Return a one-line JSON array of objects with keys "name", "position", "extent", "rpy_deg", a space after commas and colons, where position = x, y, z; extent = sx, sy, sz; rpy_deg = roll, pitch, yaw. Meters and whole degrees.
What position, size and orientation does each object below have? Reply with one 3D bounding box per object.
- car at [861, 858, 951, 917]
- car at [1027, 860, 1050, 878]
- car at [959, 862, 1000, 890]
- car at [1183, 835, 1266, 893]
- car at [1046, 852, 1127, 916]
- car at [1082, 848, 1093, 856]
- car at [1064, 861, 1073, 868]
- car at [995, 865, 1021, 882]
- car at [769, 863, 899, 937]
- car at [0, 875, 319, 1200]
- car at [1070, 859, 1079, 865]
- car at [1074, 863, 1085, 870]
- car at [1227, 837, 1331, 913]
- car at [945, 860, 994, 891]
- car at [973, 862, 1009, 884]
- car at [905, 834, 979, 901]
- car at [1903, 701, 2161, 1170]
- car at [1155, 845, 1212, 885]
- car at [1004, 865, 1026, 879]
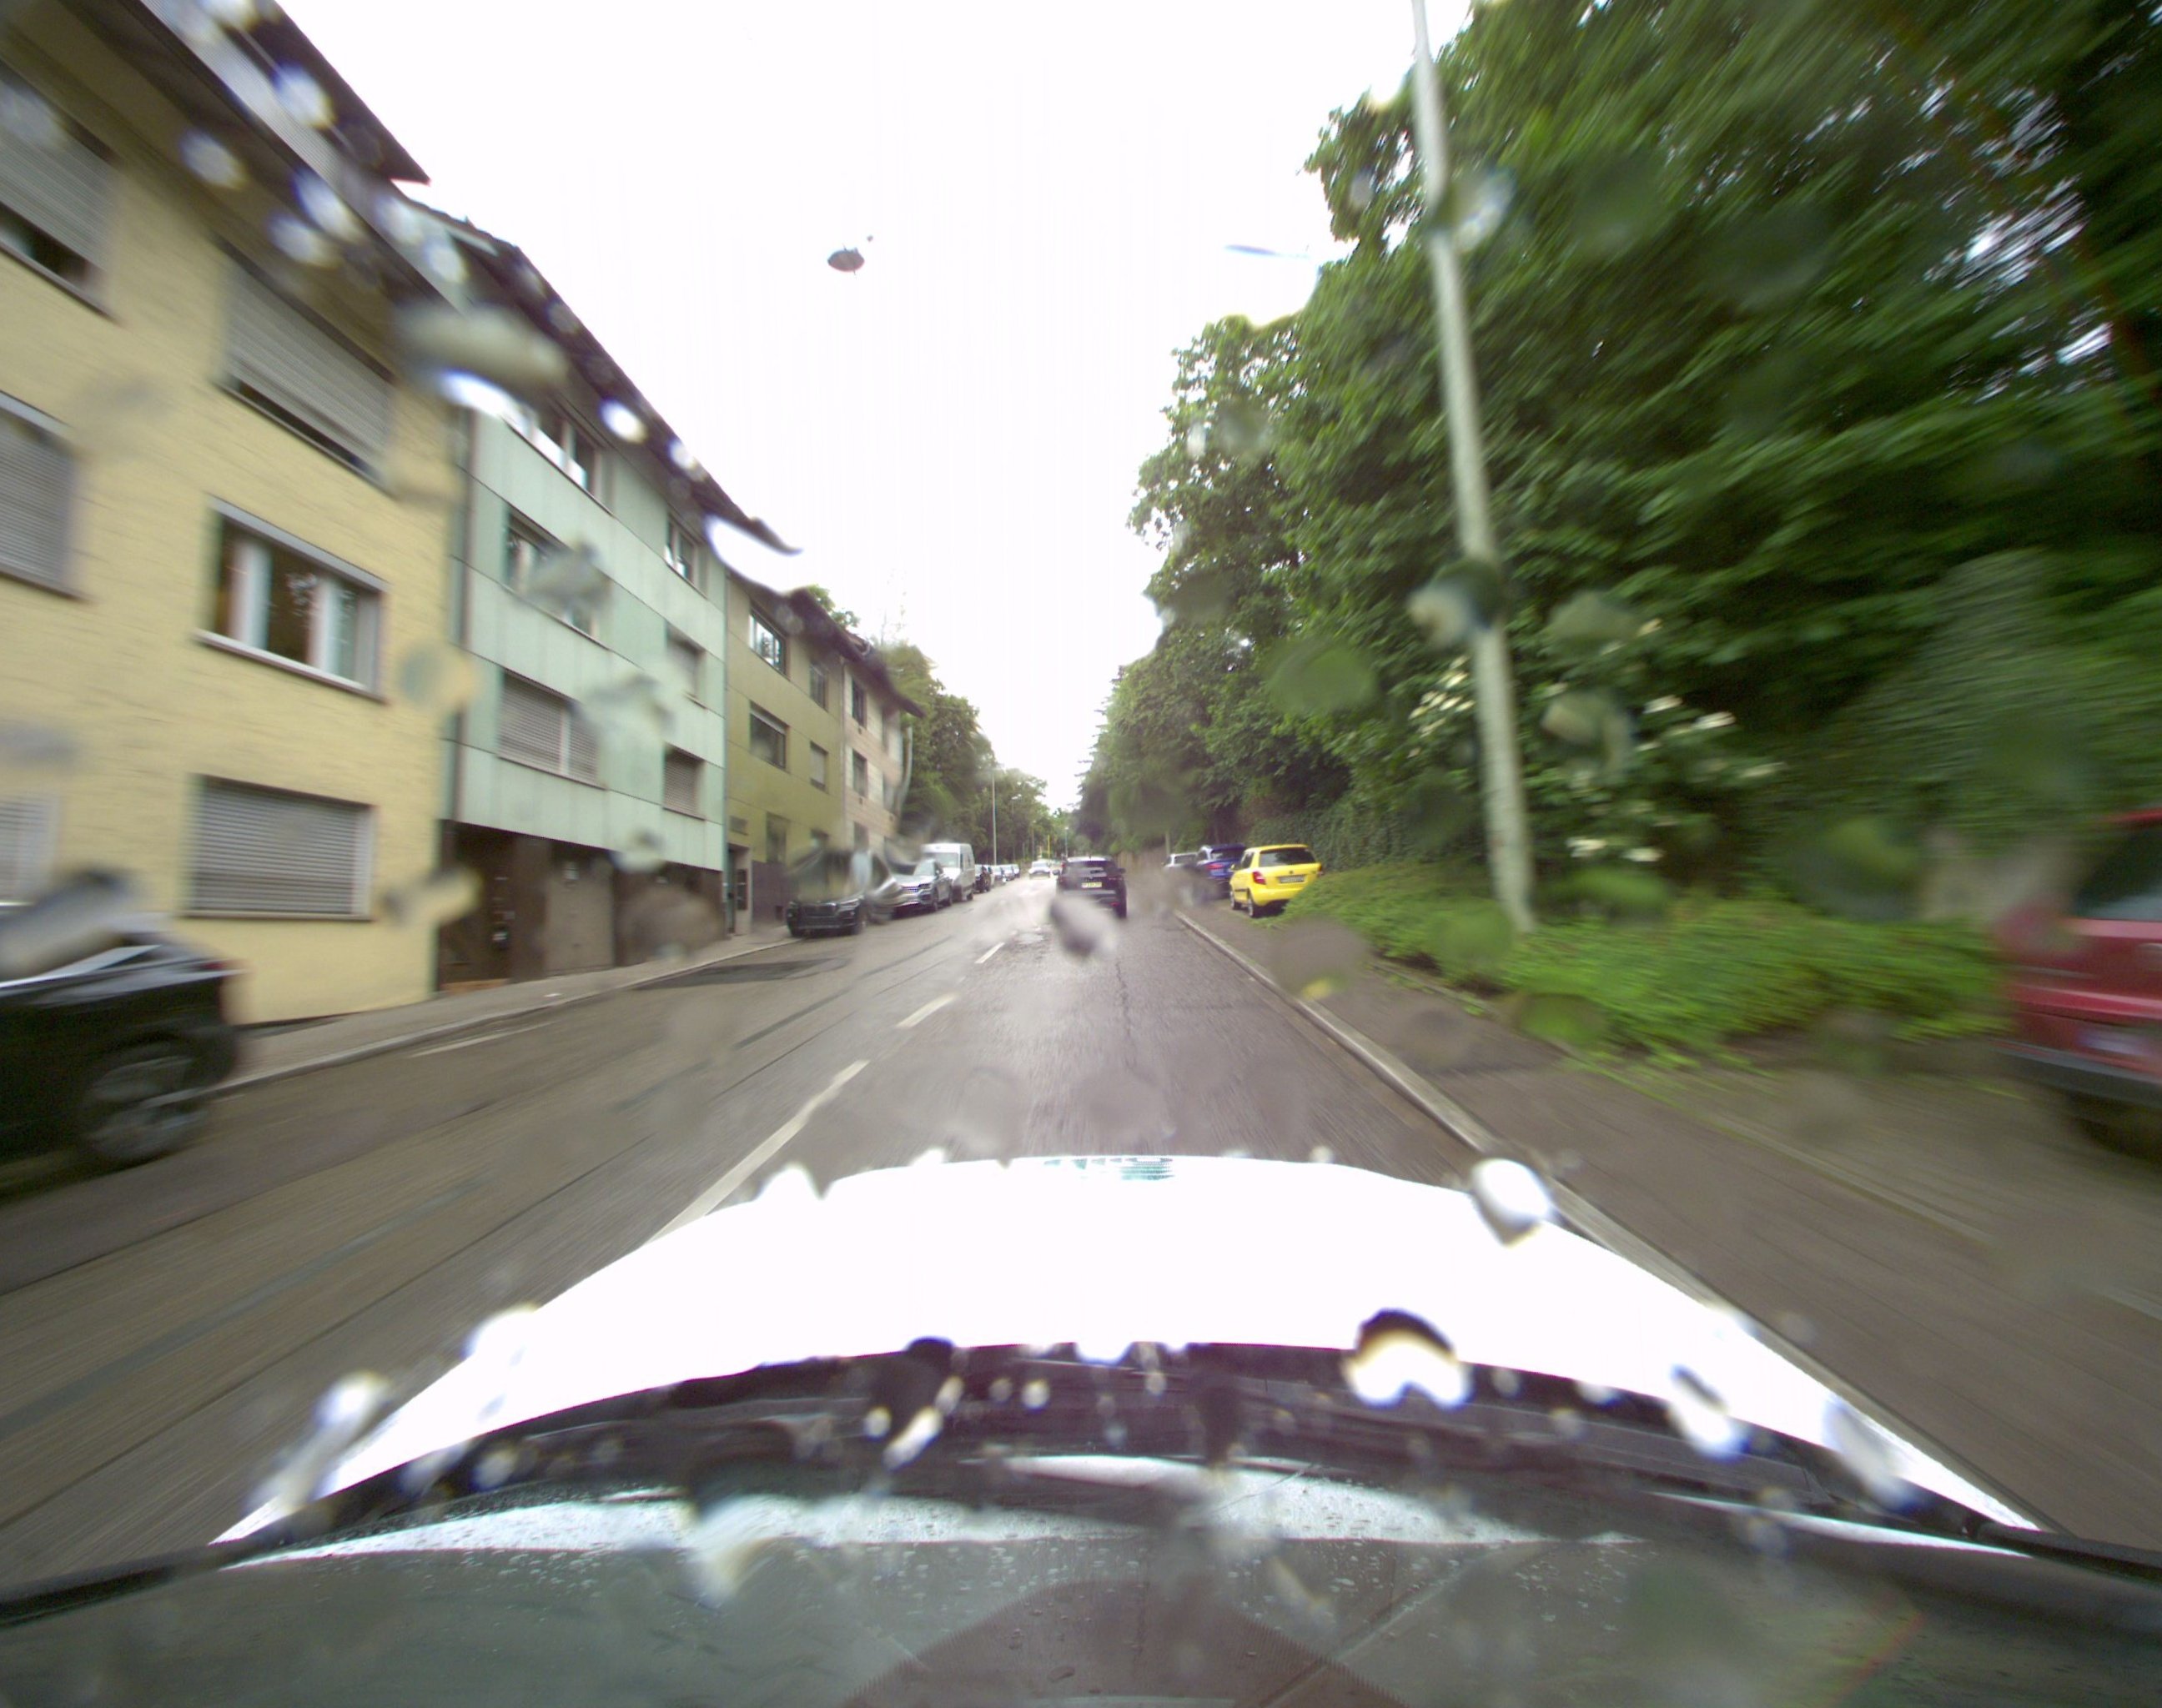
[{"name": "car", "position": [-5.760, 1.046, 27.402], "extent": [1.984, 1.755, 4.479], "rpy_deg": [-3, 0, 0]}, {"name": "car", "position": [-3.913, 1.342, 75.675], "extent": [1.988, 1.559, 3.998], "rpy_deg": [-1, 0, -1]}, {"name": "car", "position": [-6.465, 1.359, 52.153], "extent": [1.984, 1.566, 4.457], "rpy_deg": [-3, 0, 0]}, {"name": "car", "position": [4.439, 0.316, 25.841], "extent": [1.805, 1.530, 4.417], "rpy_deg": [-4, -1, 0]}, {"name": "car", "position": [0.168, 0.744, 22.187], "extent": [1.986, 1.559, 4.001], "rpy_deg": [-1, 0, 1]}, {"name": "car", "position": [1.465, -0.499, 179.121], "extent": [1.985, 1.560, 4.003], "rpy_deg": [-3, -2, 3]}, {"name": "car", "position": [-2.782, 2.278, 182.948], "extent": [2.068, 1.559, 3.999], "rpy_deg": [-2, -1, -1]}, {"name": "car", "position": [-6.969, 1.853, 78.082], "extent": [1.984, 1.384, 4.457], "rpy_deg": [-3, 0, 0]}, {"name": "car", "position": [-6.231, 1.097, 21.117], "extent": [1.984, 1.585, 4.304], "rpy_deg": [-3, 0, 0]}, {"name": "car", "position": [-6.338, 0.971, 3.590], "extent": [1.847, 1.585, 4.304], "rpy_deg": [-3, 0, 0]}, {"name": "car", "position": [-1.551, 2.022, 201.953], "extent": [2.068, 1.559, 3.999], "rpy_deg": [-2, -1, 0]}, {"name": "car", "position": [-0.288, 2.618, 172.323], "extent": [2.069, 1.559, 3.996], "rpy_deg": [-2, -1, -2]}, {"name": "car", "position": [4.435, 0.448, 18.754], "extent": [1.626, 1.530, 4.004], "rpy_deg": [-1, -1, 3]}, {"name": "car", "position": [-6.104, 1.138, 45.096], "extent": [1.984, 1.566, 4.457], "rpy_deg": [-3, 0, 0]}, {"name": "car", "position": [-6.299, 1.302, 57.458], "extent": [1.984, 1.384, 4.457], "rpy_deg": [-3, 0, 0]}, {"name": "car", "position": [-5.668, 0.524, 33.919], "extent": [1.984, 2.475, 5.783], "rpy_deg": [-3, 0, 0]}, {"name": "car", "position": [6.086, 0.313, 3.163], "extent": [4.188, 1.735, 1.758], "rpy_deg": [0, -1, -3]}, {"name": "car", "position": [4.550, 0.491, 36.743], "extent": [1.806, 1.530, 4.414], "rpy_deg": [-4, -1, -1]}, {"name": "car", "position": [-7.226, 1.982, 89.520], "extent": [1.984, 1.384, 4.457], "rpy_deg": [-3, 0, 0]}]
